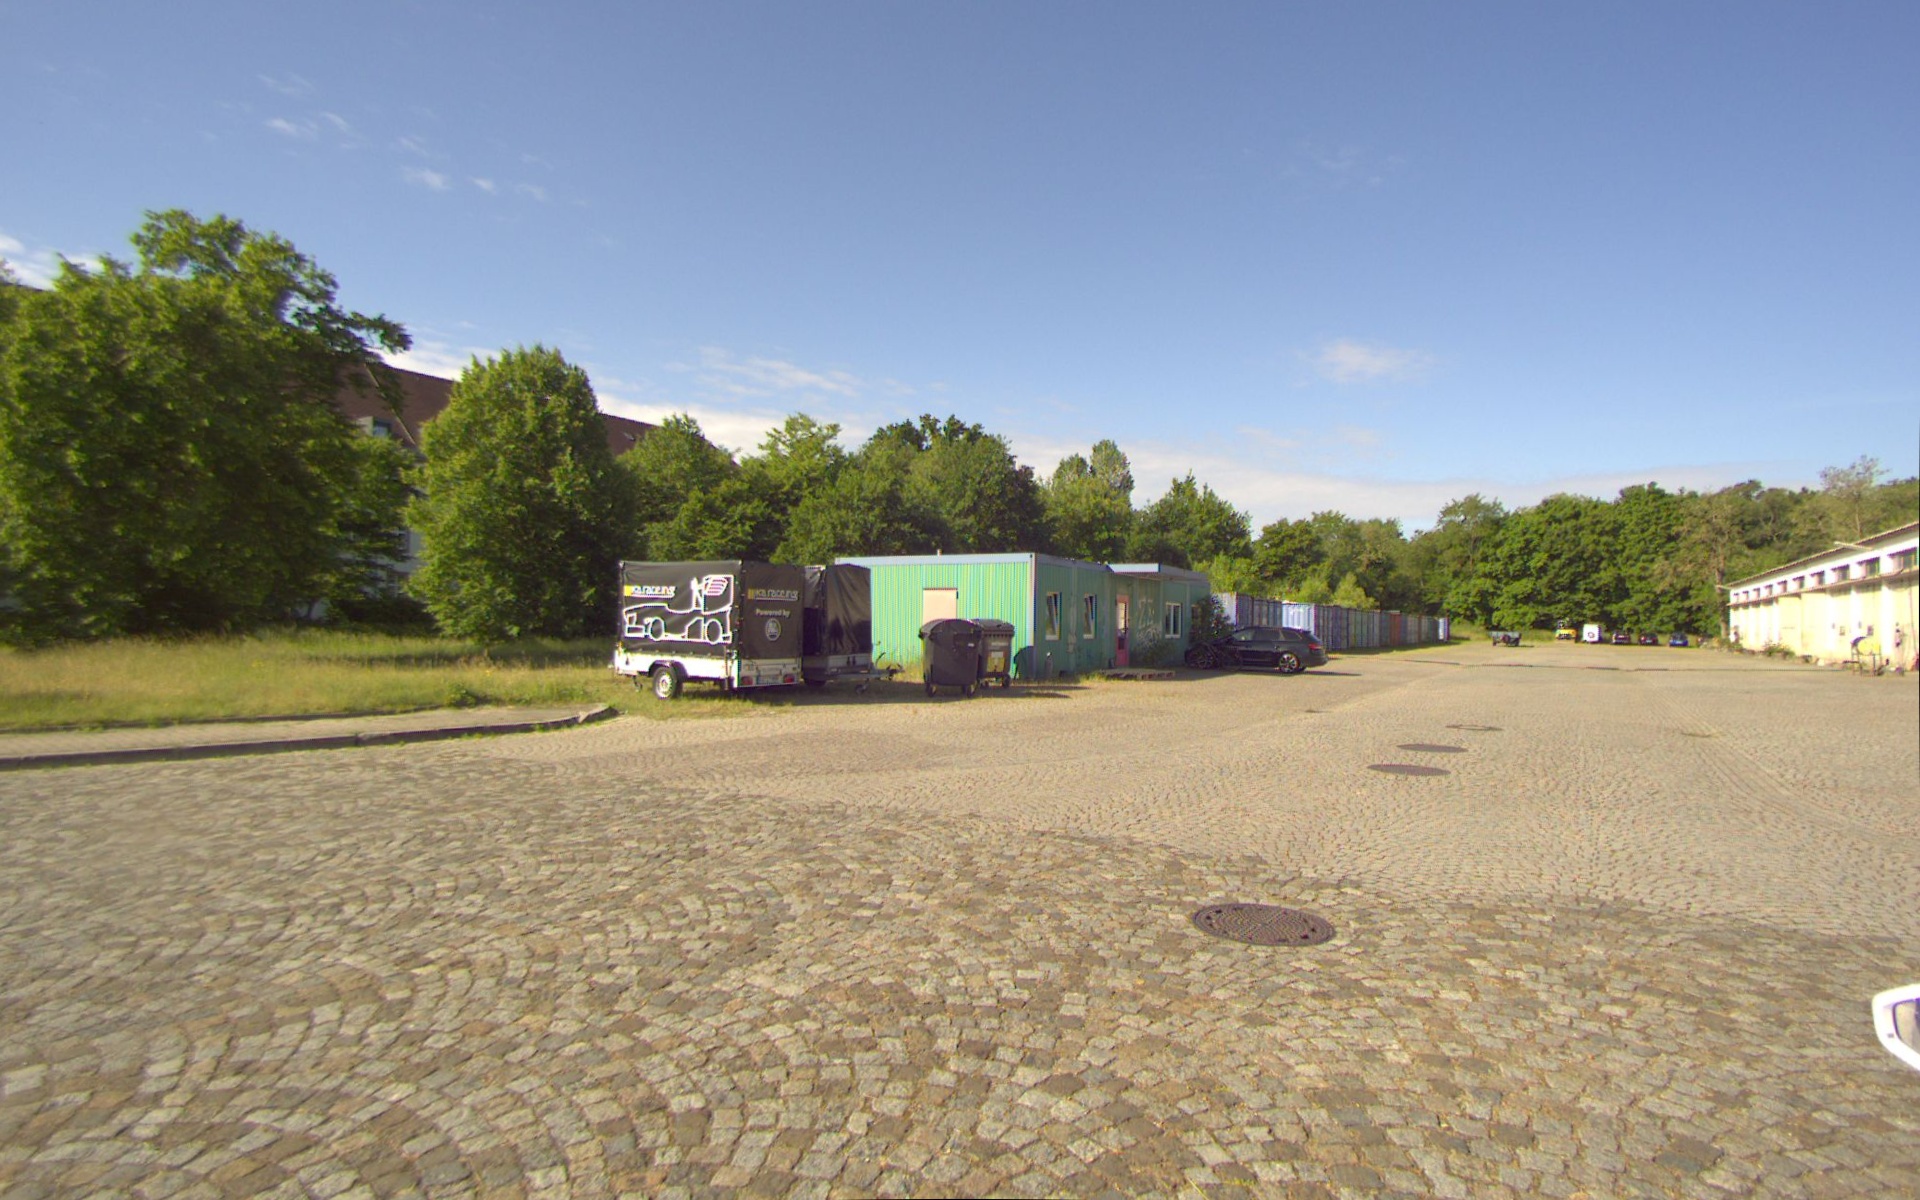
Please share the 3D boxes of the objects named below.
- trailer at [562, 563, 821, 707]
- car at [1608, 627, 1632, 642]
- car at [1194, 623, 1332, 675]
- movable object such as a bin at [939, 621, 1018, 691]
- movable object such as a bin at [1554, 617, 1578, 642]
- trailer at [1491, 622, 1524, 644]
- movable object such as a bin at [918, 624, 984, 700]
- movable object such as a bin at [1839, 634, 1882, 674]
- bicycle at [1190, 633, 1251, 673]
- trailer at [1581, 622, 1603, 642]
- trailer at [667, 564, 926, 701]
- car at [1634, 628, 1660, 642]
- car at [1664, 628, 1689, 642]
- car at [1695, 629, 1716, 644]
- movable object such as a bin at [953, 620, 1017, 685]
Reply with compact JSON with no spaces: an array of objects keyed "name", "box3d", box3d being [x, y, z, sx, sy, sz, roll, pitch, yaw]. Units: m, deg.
[{"name":"trailer","box3d":[-4.850,0.542,17.995,4.391,2.303,2.009,1,-1,32]},{"name":"car","box3d":[71.280,3.716,108.456,1.839,1.606,3.982,0,-2,39]},{"name":"car","box3d":[9.679,1.526,32.108,3.987,1.431,1.730,1,-1,27]},{"name":"movable object such as a bin","box3d":[0.404,1.157,21.250,1.066,1.404,1.364,0,-1,35]},{"name":"movable object such as a bin","box3d":[68.103,3.329,112.874,1.968,2.653,3.986,2,0,36]},{"name":"trailer","box3d":[53.959,3.218,98.973,2.374,2.040,4.161,2,0,34]},{"name":"movable object such as a bin","box3d":[-0.191,1.162,19.262,1.029,1.404,1.362,1,-1,-10]},{"name":"movable object such as a bin","box3d":[31.481,1.858,35.120,0.811,1.349,1.279,0,-1,27]},{"name":"bicycle","box3d":[8.083,1.634,31.154,1.684,1.116,0.672,2,0,32]},{"name":"trailer","box3d":[70.018,3.553,111.299,1.770,2.117,3.957,0,-1,36]},{"name":"trailer","box3d":[-3.244,0.562,19.740,4.765,2.422,1.941,1,-1,27]},{"name":"car","box3d":[73.392,3.730,107.310,1.969,1.482,3.982,0,-2,39]},{"name":"car","box3d":[75.570,3.675,105.897,1.969,1.439,3.982,0,-2,39]},{"name":"car","box3d":[78.400,3.828,105.651,1.665,1.584,3.982,0,-2,39]},{"name":"movable object such as a bin","box3d":[0.601,1.193,23.235,1.067,1.456,1.409,0,-1,20]}]
